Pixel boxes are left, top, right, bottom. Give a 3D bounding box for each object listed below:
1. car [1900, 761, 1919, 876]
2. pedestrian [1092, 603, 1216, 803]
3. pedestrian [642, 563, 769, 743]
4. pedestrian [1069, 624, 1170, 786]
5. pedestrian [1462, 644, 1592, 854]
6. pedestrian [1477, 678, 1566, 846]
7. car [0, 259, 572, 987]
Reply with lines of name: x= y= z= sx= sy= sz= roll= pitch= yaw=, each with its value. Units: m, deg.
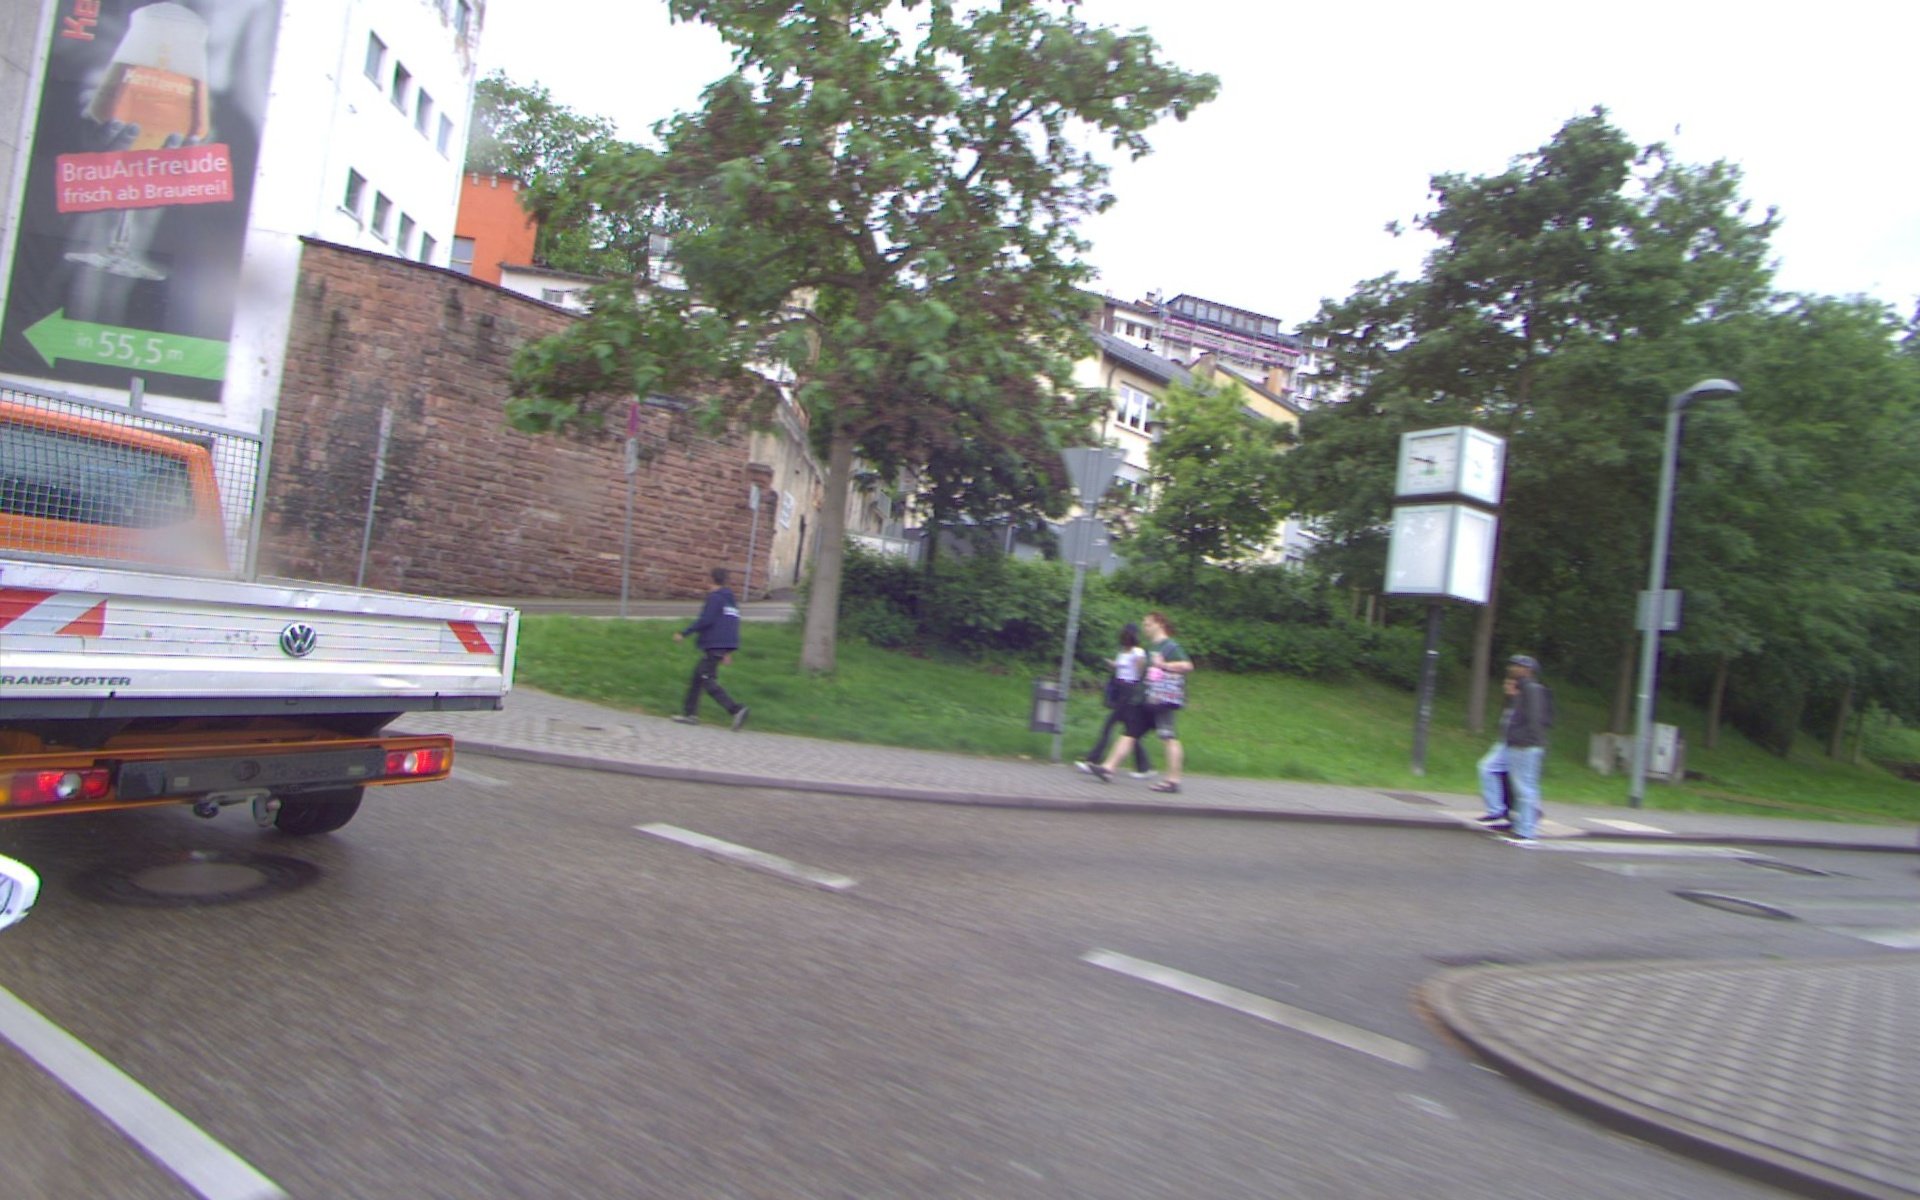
car: x=13.960 y=2.964 z=12.558 sx=4.045 sy=1.390 sz=1.786 roll=8 pitch=-2 yaw=-25
pedestrian: x=1.909 y=1.004 z=9.948 sx=0.687 sy=1.853 sz=0.737 roll=6 pitch=1 yaw=-32
pedestrian: x=-2.652 y=0.546 z=10.561 sx=0.946 sy=1.707 sz=0.572 roll=9 pitch=1 yaw=1
pedestrian: x=1.689 y=1.107 z=10.722 sx=0.697 sy=1.619 sz=0.599 roll=6 pitch=1 yaw=-20
pedestrian: x=5.908 y=1.533 z=10.512 sx=0.773 sy=2.038 sz=0.588 roll=7 pitch=0 yaw=-6
pedestrian: x=6.169 y=1.759 z=11.084 sx=0.518 sy=1.726 sz=0.558 roll=7 pitch=0 yaw=11
car: x=-4.792 y=-0.081 z=4.977 sx=5.444 sy=2.114 sz=2.107 roll=6 pitch=-1 yaw=27
